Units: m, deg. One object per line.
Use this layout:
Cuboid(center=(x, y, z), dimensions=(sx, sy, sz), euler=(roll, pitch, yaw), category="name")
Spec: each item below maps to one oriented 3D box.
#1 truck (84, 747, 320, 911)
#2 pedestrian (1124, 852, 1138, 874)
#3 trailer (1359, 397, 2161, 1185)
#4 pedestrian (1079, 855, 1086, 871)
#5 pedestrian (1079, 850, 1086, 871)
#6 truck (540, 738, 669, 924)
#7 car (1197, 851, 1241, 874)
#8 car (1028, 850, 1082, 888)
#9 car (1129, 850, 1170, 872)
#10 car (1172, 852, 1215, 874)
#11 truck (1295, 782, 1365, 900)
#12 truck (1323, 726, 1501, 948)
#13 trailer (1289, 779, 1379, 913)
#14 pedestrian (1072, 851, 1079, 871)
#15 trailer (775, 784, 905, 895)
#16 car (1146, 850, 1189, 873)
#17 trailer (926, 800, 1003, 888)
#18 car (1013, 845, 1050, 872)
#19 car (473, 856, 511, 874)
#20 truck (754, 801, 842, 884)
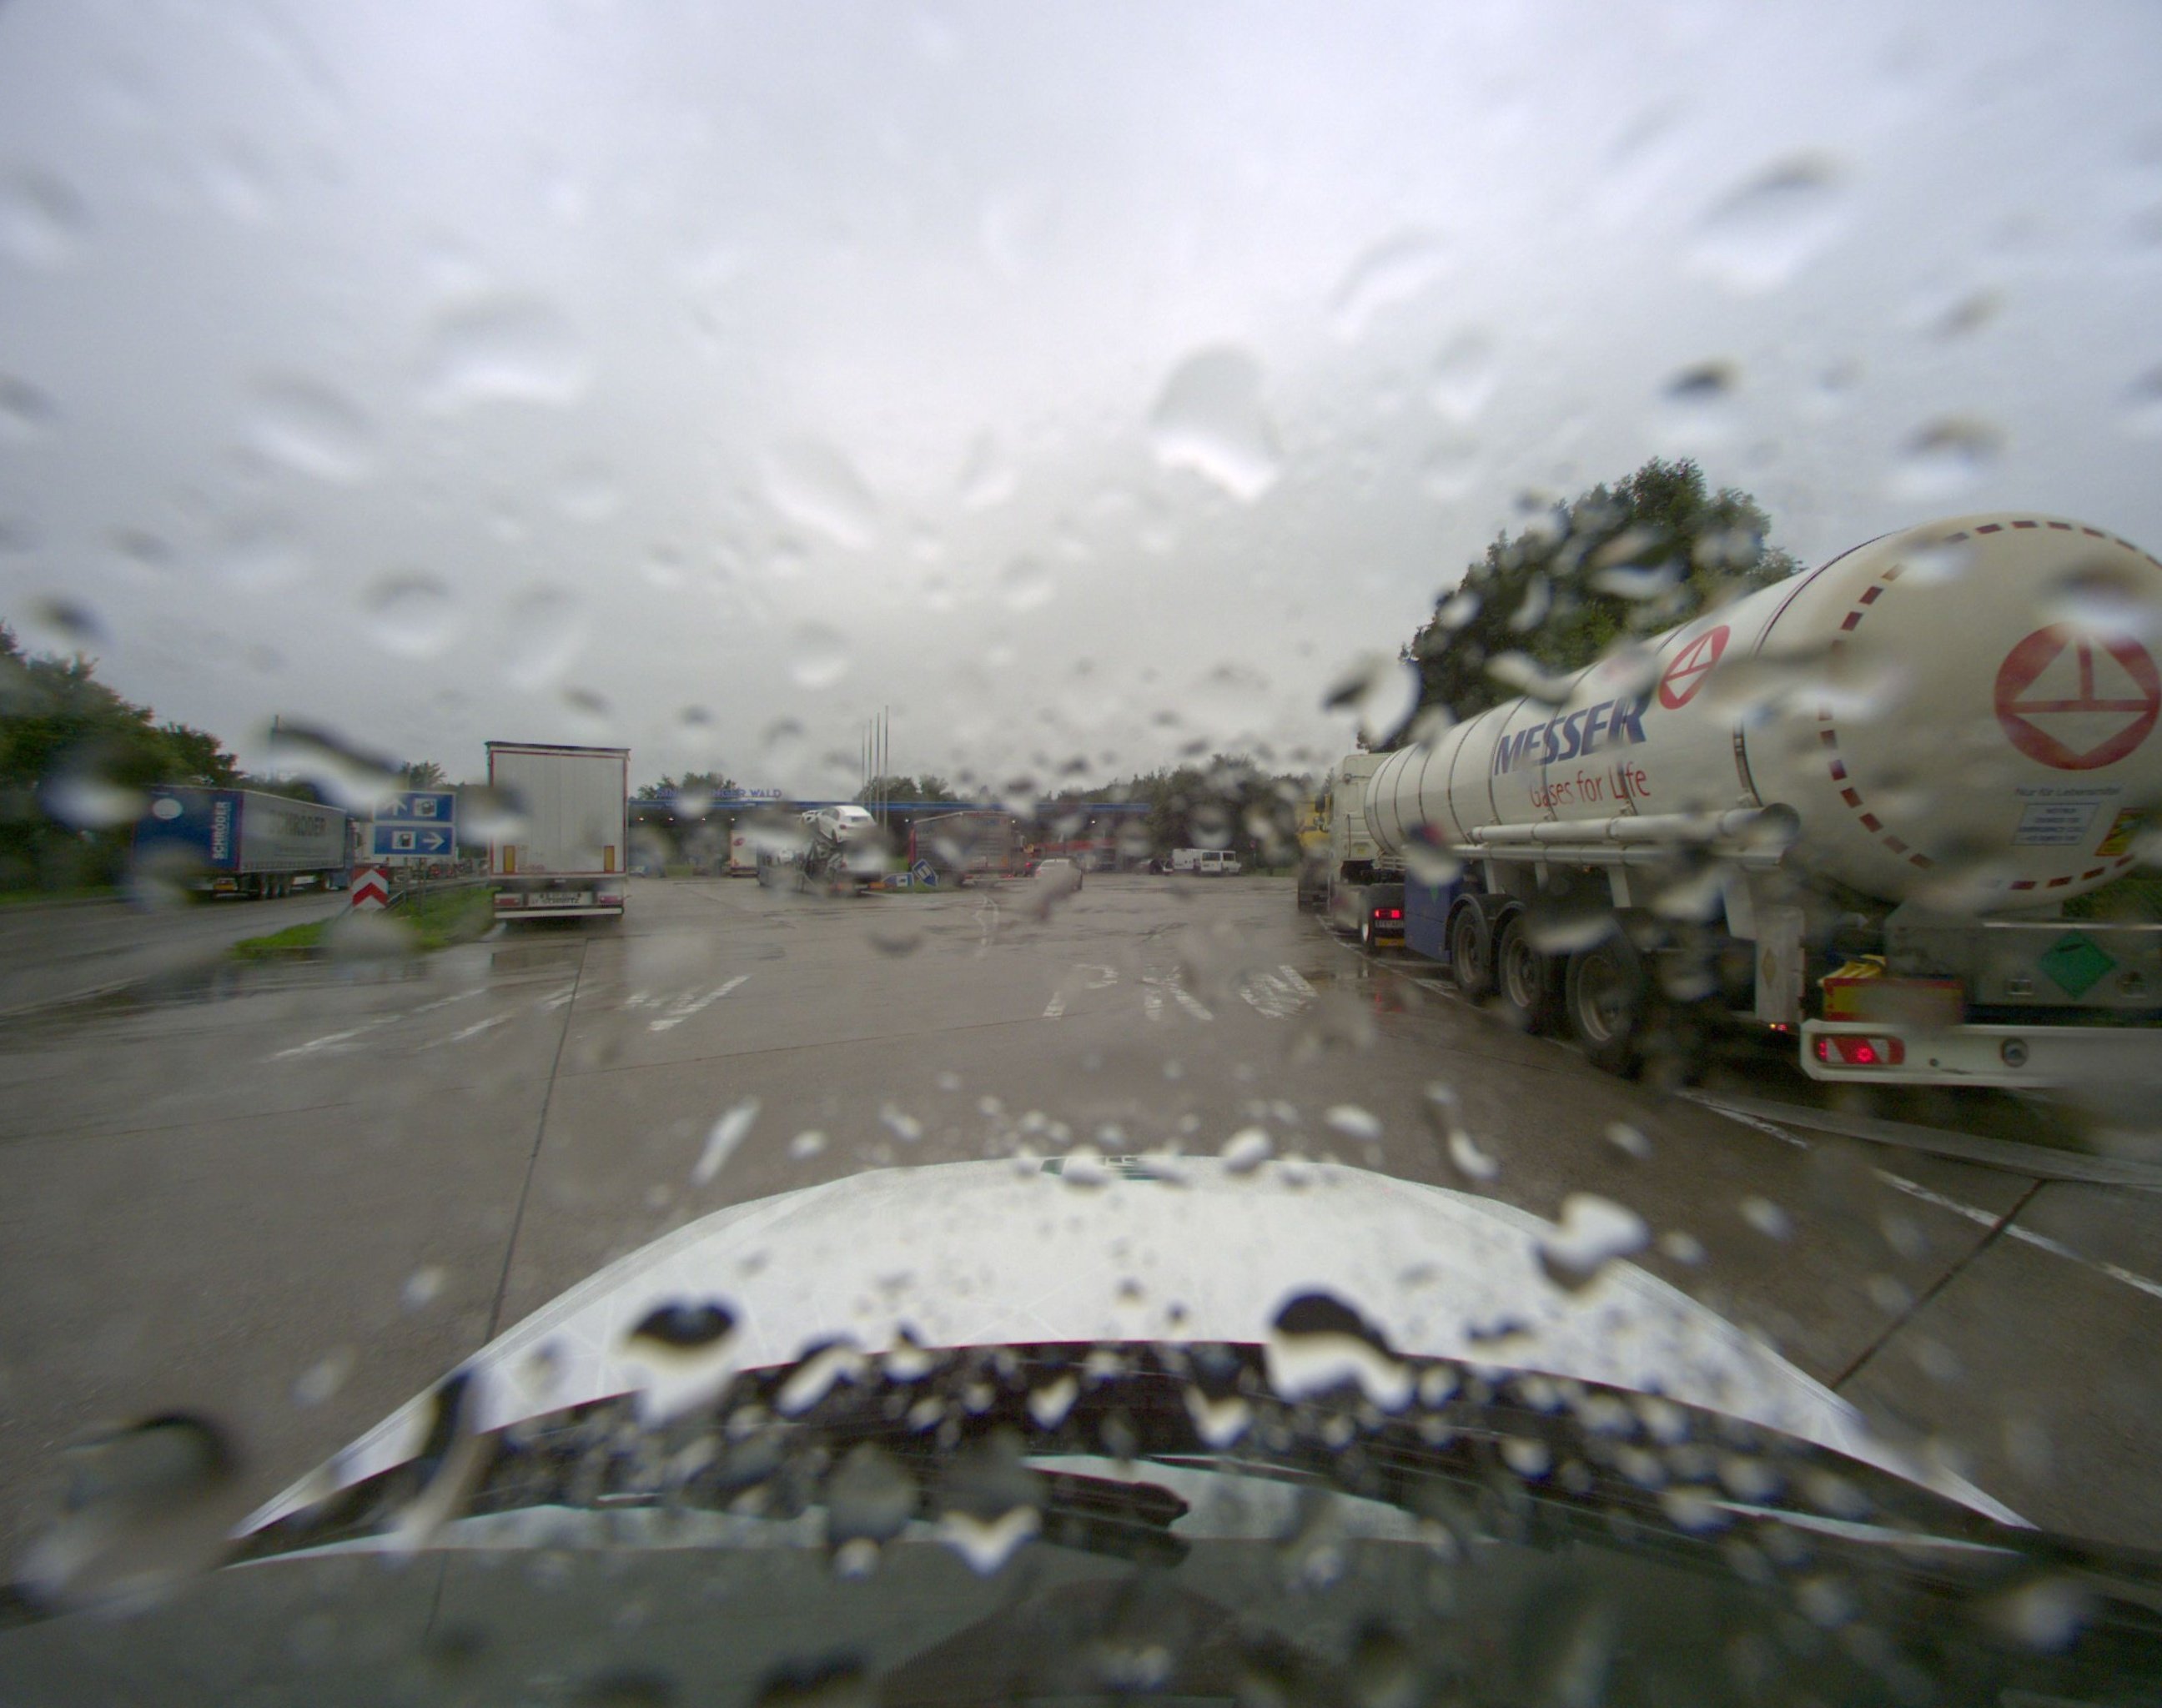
Cuboid(center=(-33.951, -0.765, 32.250), dimensions=(4.831, 5.306, 10.941), euler=(0, -1, -39), category="truck")
Cuboid(center=(4.535, 0.825, 73.874), dimensions=(0.945, 1.920, 1.094), euler=(0, 0, 22), category="pedestrian")
Cuboid(center=(4.987, -0.258, 8.708), dimensions=(2.118, 3.440, 10.279), euler=(0, 0, 9), category="trailer")
Cuboid(center=(0.131, 0.902, 79.428), dimensions=(0.609, 1.539, 0.592), euler=(0, -2, -13), category="pedestrian")
Cuboid(center=(0.136, 0.673, 81.838), dimensions=(0.666, 2.014, 0.743), euler=(2, -4, 3), category="pedestrian")
Cuboid(center=(-13.413, -0.476, 22.928), dimensions=(2.386, 3.874, 12.332), euler=(0, 0, -31), category="truck")
Cuboid(center=(10.860, 0.617, 63.736), dimensions=(2.093, 1.728, 4.025), euler=(-1, 0, 30), category="car")
Cuboid(center=(-1.143, 0.690, 38.283), dimensions=(1.983, 1.679, 4.006), euler=(-1, -1, 6), category="car")
Cuboid(center=(6.195, 0.591, 73.396), dimensions=(2.093, 1.937, 4.218), euler=(-1, 0, 30), category="car")
Cuboid(center=(9.129, 0.705, 65.796), dimensions=(2.093, 1.728, 4.025), euler=(-1, 0, 30), category="car")
Cuboid(center=(8.747, -0.410, 28.745), dimensions=(2.164, 3.828, 4.159), euler=(0, 0, 16), category="truck")
Cuboid(center=(5.963, -0.258, 15.349), dimensions=(2.133, 3.513, 4.658), euler=(0, 0, 9), category="truck")
Cuboid(center=(7.492, -0.195, 24.429), dimensions=(2.166, 3.392, 7.596), euler=(0, 0, 16), category="trailer")
Cuboid(center=(-0.578, 0.689, 83.092), dimensions=(0.585, 2.014, 0.636), euler=(2, -4, -6), category="pedestrian")
Cuboid(center=(-11.206, -0.535, 36.725), dimensions=(3.234, 4.189, 11.422), euler=(1, -1, -29), category="trailer")
Cuboid(center=(7.420, 0.615, 69.436), dimensions=(2.093, 1.937, 4.218), euler=(-1, 0, 30), category="car")
Cuboid(center=(-6.856, -0.447, 46.712), dimensions=(2.002, 4.559, 9.734), euler=(1, -1, -23), category="trailer")
Cuboid(center=(-4.191, 0.390, 68.253), dimensions=(2.000, 2.014, 3.972), euler=(3, -4, -20), category="car")
Cuboid(center=(-51.181, 0.945, 70.823), dimensions=(1.887, 1.461, 3.968), euler=(1, -1, -24), category="car")
Cuboid(center=(-15.957, -0.572, 45.421), dimensions=(3.253, 4.189, 8.365), euler=(1, -1, -29), category="truck")
